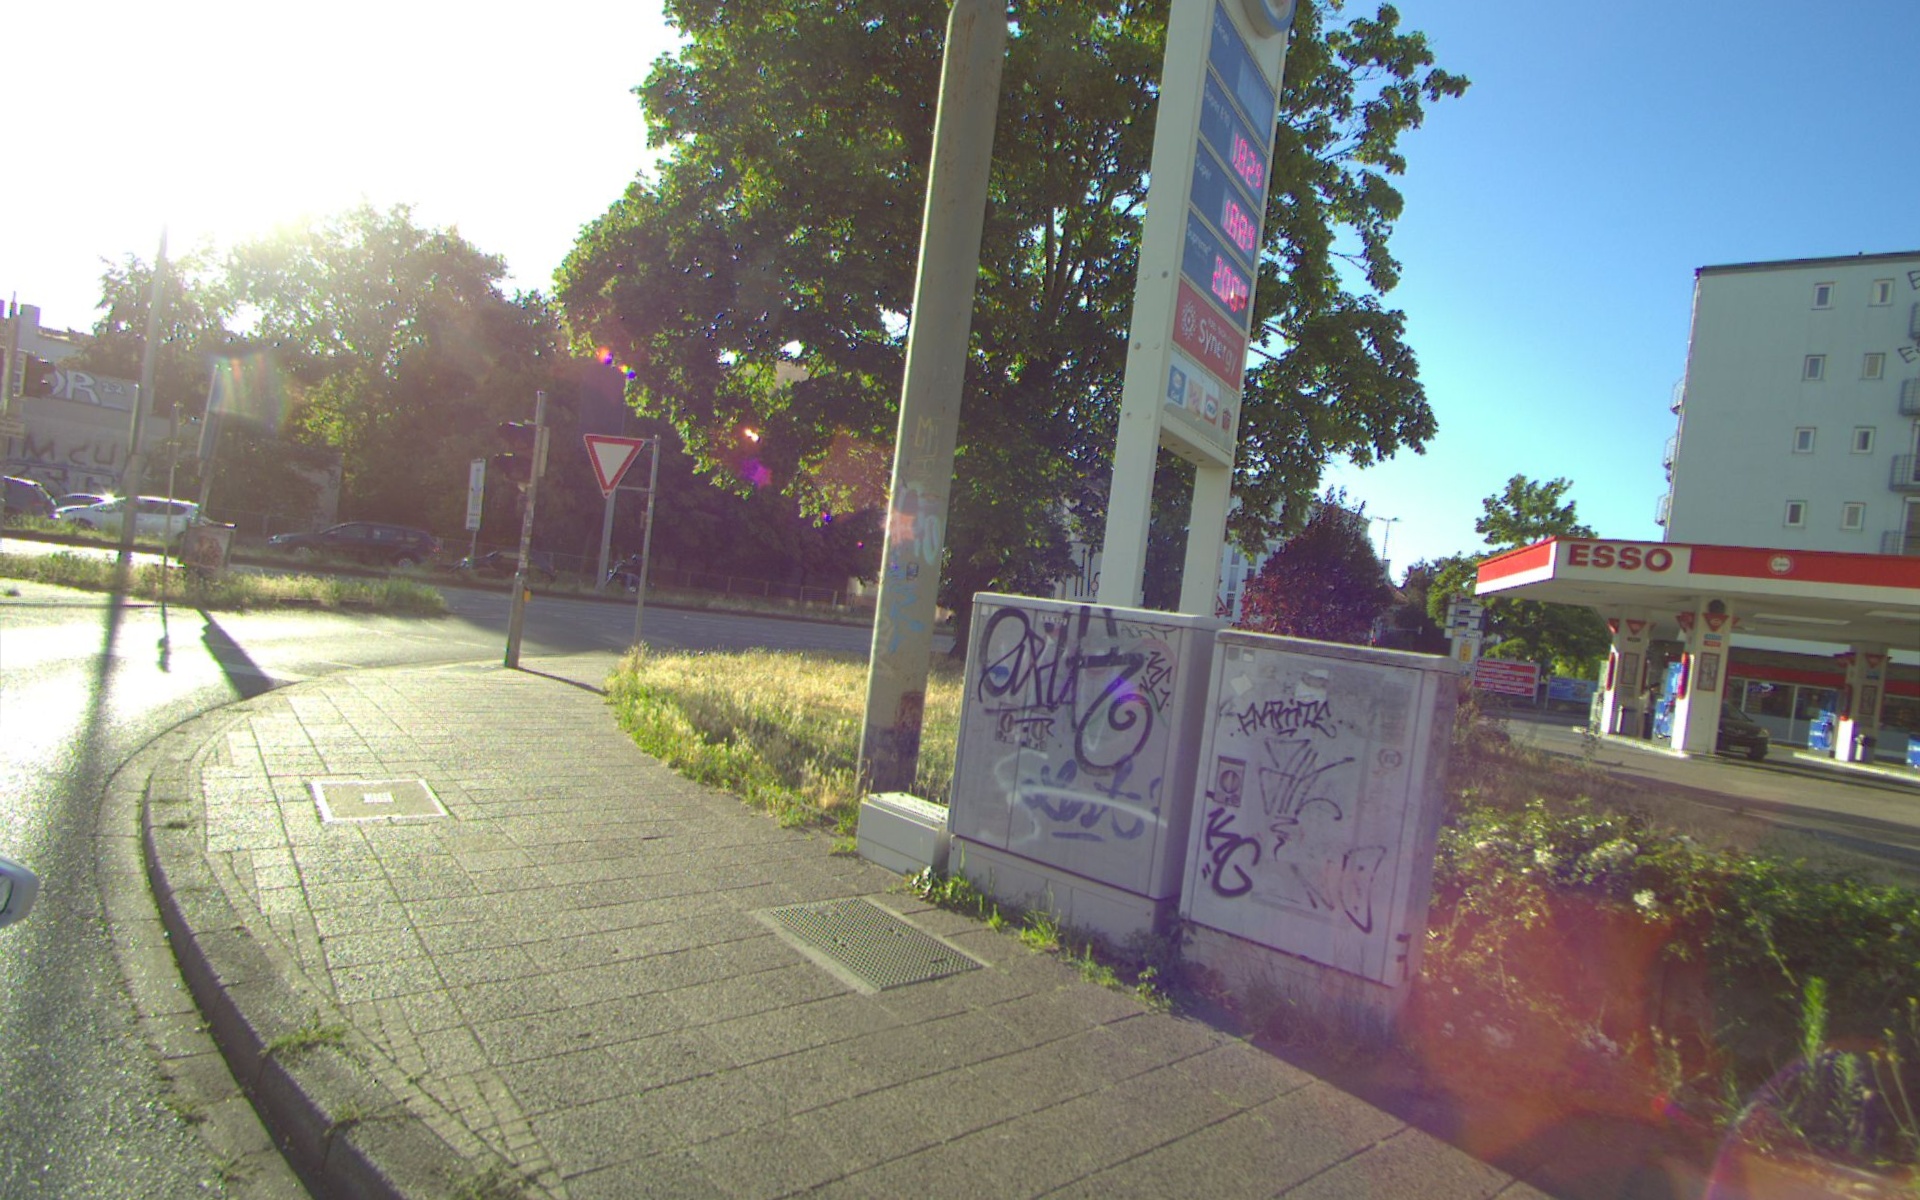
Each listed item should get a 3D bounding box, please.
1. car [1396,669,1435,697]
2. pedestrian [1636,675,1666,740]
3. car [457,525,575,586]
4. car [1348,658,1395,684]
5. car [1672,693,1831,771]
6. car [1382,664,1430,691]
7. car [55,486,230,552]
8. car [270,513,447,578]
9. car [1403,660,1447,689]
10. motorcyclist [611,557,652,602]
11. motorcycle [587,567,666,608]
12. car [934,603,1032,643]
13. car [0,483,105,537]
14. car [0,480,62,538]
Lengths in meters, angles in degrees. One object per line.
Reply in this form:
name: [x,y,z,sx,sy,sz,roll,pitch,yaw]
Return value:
car: [37.785,6.924,83.423,1.827,1.871,3.988,5,-3,39]
pedestrian: [19.060,2.946,27.754,0.413,1.726,0.420,7,1,20]
car: [-17.747,-1.736,40.254,3.962,1.814,1.735,9,-3,-33]
car: [29.621,5.109,72.339,1.906,1.504,3.984,7,0,39]
car: [20.866,3.431,26.746,1.963,1.371,3.997,7,1,19]
car: [30.784,5.377,69.379,1.906,1.504,3.984,7,0,39]
car: [-24.161,-2.372,29.925,3.863,1.335,1.706,8,0,-38]
car: [-17.900,-1.594,30.005,4.338,1.312,1.707,8,0,-36]
car: [34.142,5.492,73.810,1.805,1.749,3.983,8,0,40]
motorcyclist: [-11.627,-0.732,35.632,1.052,1.415,0.846,7,0,-36]
motorcycle: [-11.775,-0.444,35.551,2.448,1.121,0.853,7,0,-36]
car: [1.281,1.248,53.794,5.256,1.514,1.976,8,-1,-42]
car: [-29.528,-2.934,31.610,3.863,1.312,1.706,8,0,-38]
car: [-25.299,-2.513,24.963,4.209,1.312,1.708,8,0,-34]
